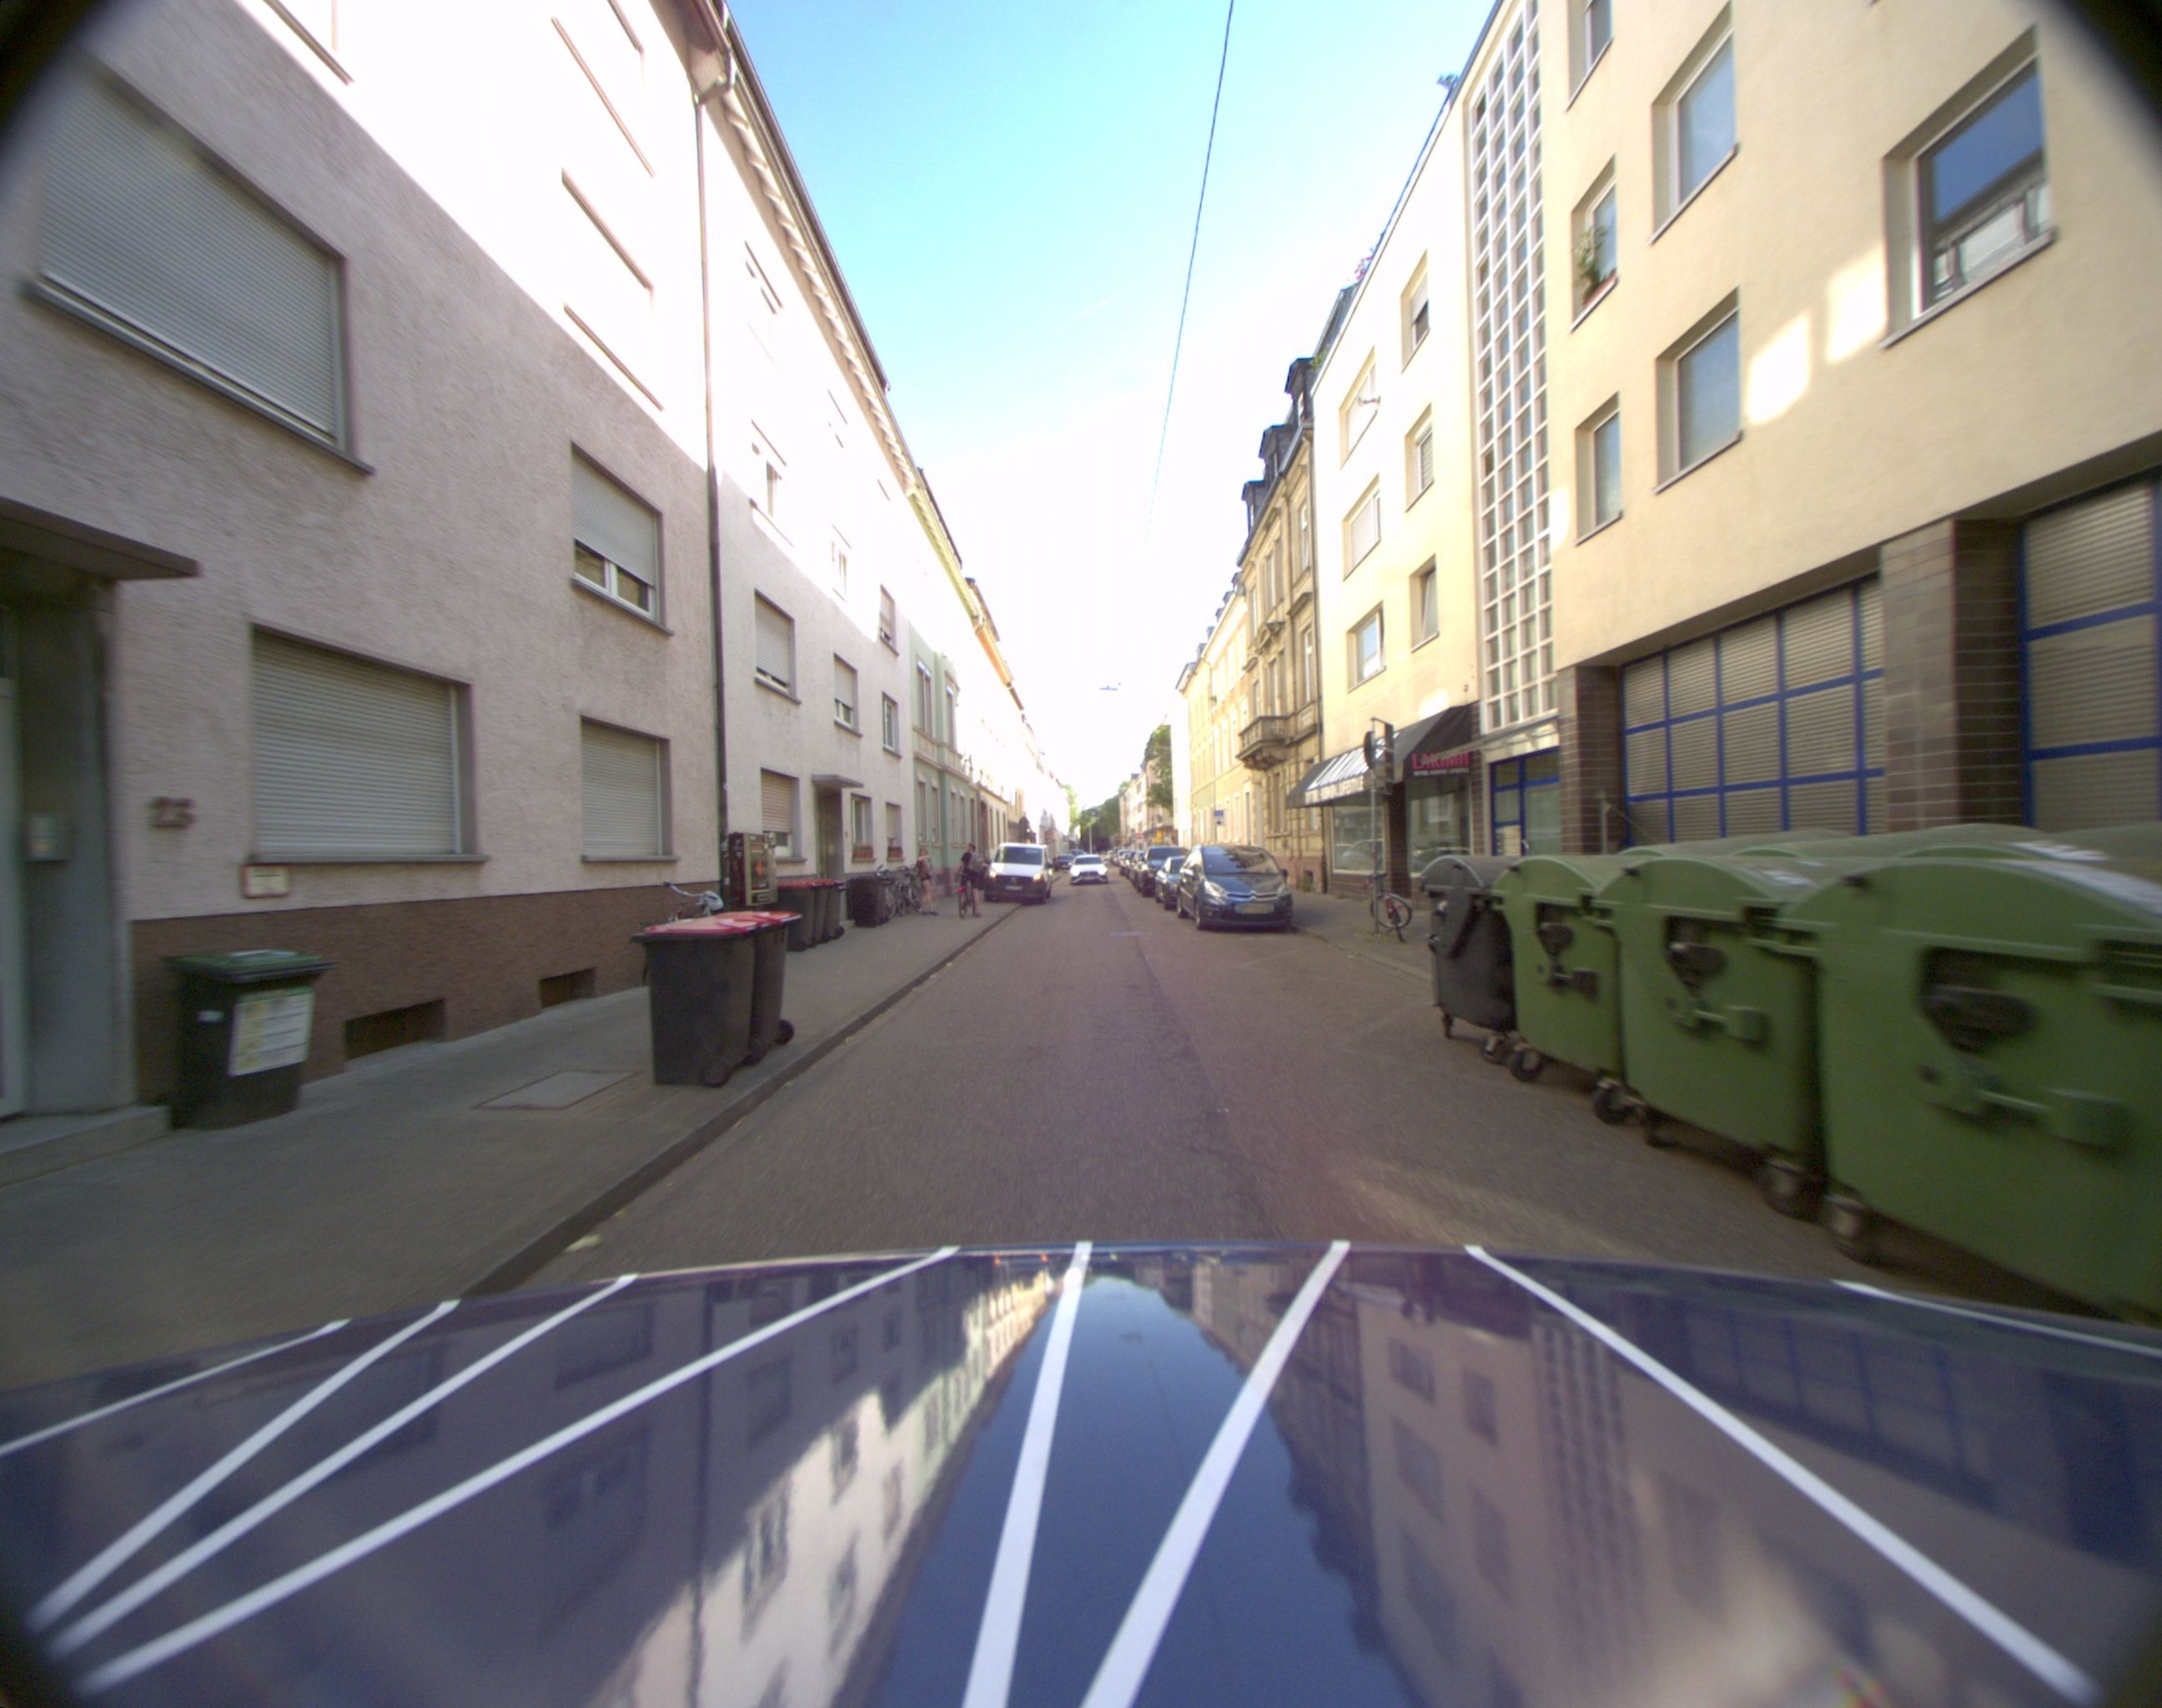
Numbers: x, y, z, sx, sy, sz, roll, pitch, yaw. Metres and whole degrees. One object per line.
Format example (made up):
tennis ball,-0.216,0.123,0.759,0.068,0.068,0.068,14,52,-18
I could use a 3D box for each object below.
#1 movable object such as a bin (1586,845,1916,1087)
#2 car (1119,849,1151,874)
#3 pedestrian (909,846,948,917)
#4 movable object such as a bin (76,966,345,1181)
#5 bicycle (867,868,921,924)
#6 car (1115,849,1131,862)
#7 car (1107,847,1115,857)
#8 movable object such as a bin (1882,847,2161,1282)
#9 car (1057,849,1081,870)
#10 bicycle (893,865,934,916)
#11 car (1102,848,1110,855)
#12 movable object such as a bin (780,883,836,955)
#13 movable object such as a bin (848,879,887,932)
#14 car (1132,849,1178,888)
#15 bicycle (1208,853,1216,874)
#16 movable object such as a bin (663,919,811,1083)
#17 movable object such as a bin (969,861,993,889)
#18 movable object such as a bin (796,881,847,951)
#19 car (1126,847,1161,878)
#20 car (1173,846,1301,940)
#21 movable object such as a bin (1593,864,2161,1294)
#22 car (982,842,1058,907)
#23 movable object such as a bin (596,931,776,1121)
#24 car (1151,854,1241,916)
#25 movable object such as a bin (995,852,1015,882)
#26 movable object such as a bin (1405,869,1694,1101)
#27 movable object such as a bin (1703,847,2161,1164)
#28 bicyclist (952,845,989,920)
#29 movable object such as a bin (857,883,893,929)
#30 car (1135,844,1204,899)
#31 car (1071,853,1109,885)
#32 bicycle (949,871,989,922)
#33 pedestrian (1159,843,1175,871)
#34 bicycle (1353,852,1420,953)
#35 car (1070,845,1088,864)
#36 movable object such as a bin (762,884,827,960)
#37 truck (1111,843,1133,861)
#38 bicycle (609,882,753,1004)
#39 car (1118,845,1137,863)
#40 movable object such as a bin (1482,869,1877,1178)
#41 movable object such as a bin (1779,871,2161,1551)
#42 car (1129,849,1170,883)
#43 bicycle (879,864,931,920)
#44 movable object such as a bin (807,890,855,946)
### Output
movable object such as a bin,4.641,0.711,5.407,1.299,1.489,1.178,-2,2,1
car,3.443,0.466,48.805,1.718,1.480,4.851,1,1,0
pedestrian,-3.722,0.659,18.578,0.656,1.702,0.687,-1,2,13
movable object such as a bin,-4.607,1.132,4.074,0.599,0.946,0.682,-1,2,2
bicycle,-4.290,0.929,17.562,0.570,1.147,1.868,-1,1,6
car,5.001,0.190,90.409,1.669,1.514,4.488,0,0,0
car,6.353,-0.493,159.349,1.585,1.971,4.067,-1,1,1
movable object such as a bin,4.539,0.757,3.174,1.305,1.514,1.018,-2,2,1
car,-0.984,0.443,64.039,1.805,1.570,4.897,-2,1,1
bicycle,-4.374,0.929,19.990,0.406,1.199,2.159,-1,1,4
car,6.174,-0.710,189.001,1.786,1.674,4.021,-1,1,1
movable object such as a bin,-4.421,1.042,12.339,0.658,1.099,0.593,-1,1,2
movable object such as a bin,-4.405,1.054,15.689,0.617,1.056,0.603,0,1,1
car,3.092,0.572,32.387,1.717,1.522,4.367,-1,1,3
bicycle,6.930,0.493,40.066,0.361,1.023,1.918,-1,1,11
movable object such as a bin,-2.553,1.072,5.714,0.734,1.074,0.703,-1,2,2
movable object such as a bin,-4.036,0.837,30.813,0.814,1.082,0.674,-1,2,3
movable object such as a bin,-4.396,1.041,12.901,0.629,1.116,0.569,-1,2,2
car,3.460,0.452,42.943,1.748,1.605,4.603,0,0,2
car,3.024,0.669,15.687,1.787,1.657,4.670,0,1,1
movable object such as a bin,3.198,0.821,3.225,1.352,1.478,1.003,-2,2,1
car,-1.920,0.597,25.729,1.988,1.873,5.599,2,0,1
movable object such as a bin,-2.559,1.093,5.001,0.769,1.080,0.693,-1,2,2
car,3.051,0.764,21.071,1.850,1.409,4.817,0,1,1
movable object such as a bin,-3.801,0.635,38.072,0.839,1.382,1.296,1,3,0
movable object such as a bin,3.239,0.852,5.444,1.322,1.442,1.187,0,2,1
movable object such as a bin,4.610,0.733,4.249,1.309,1.490,1.157,-2,2,1
bicyclist,-2.648,0.683,18.327,0.762,1.760,0.822,1,0,-1
movable object such as a bin,-4.416,1.107,16.300,0.578,0.919,0.607,1,1,1
car,3.016,0.529,26.867,1.941,1.726,5.142,-1,1,1
car,0.491,0.685,37.972,1.761,1.399,4.021,-1,1,1
bicycle,-2.682,0.990,18.327,0.665,1.130,1.988,1,0,-1
pedestrian,5.735,0.207,50.642,0.913,1.822,1.245,-1,2,1
bicycle,4.679,0.692,11.723,0.466,1.324,1.855,-5,2,9
car,-0.248,0.041,88.979,1.975,2.017,4.898,-3,1,0
movable object such as a bin,-4.421,1.039,11.744,0.740,1.091,0.640,1,2,2
truck,5.474,-0.361,101.762,2.171,2.295,6.344,0,1,-4
bicycle,-4.618,0.969,8.951,0.538,1.163,2.076,3,1,1
car,5.127,0.001,84.401,1.771,1.888,4.808,0,0,0
movable object such as a bin,3.212,0.847,4.270,1.337,1.476,1.093,0,2,1
movable object such as a bin,3.158,0.837,2.190,1.346,1.490,1.018,-2,2,1
car,3.292,0.539,37.151,1.619,1.545,3.977,-1,0,0
bicycle,-4.281,0.898,18.651,0.438,1.199,2.267,-1,1,8
movable object such as a bin,-4.446,1.122,13.537,0.607,0.929,0.605,-1,1,2
